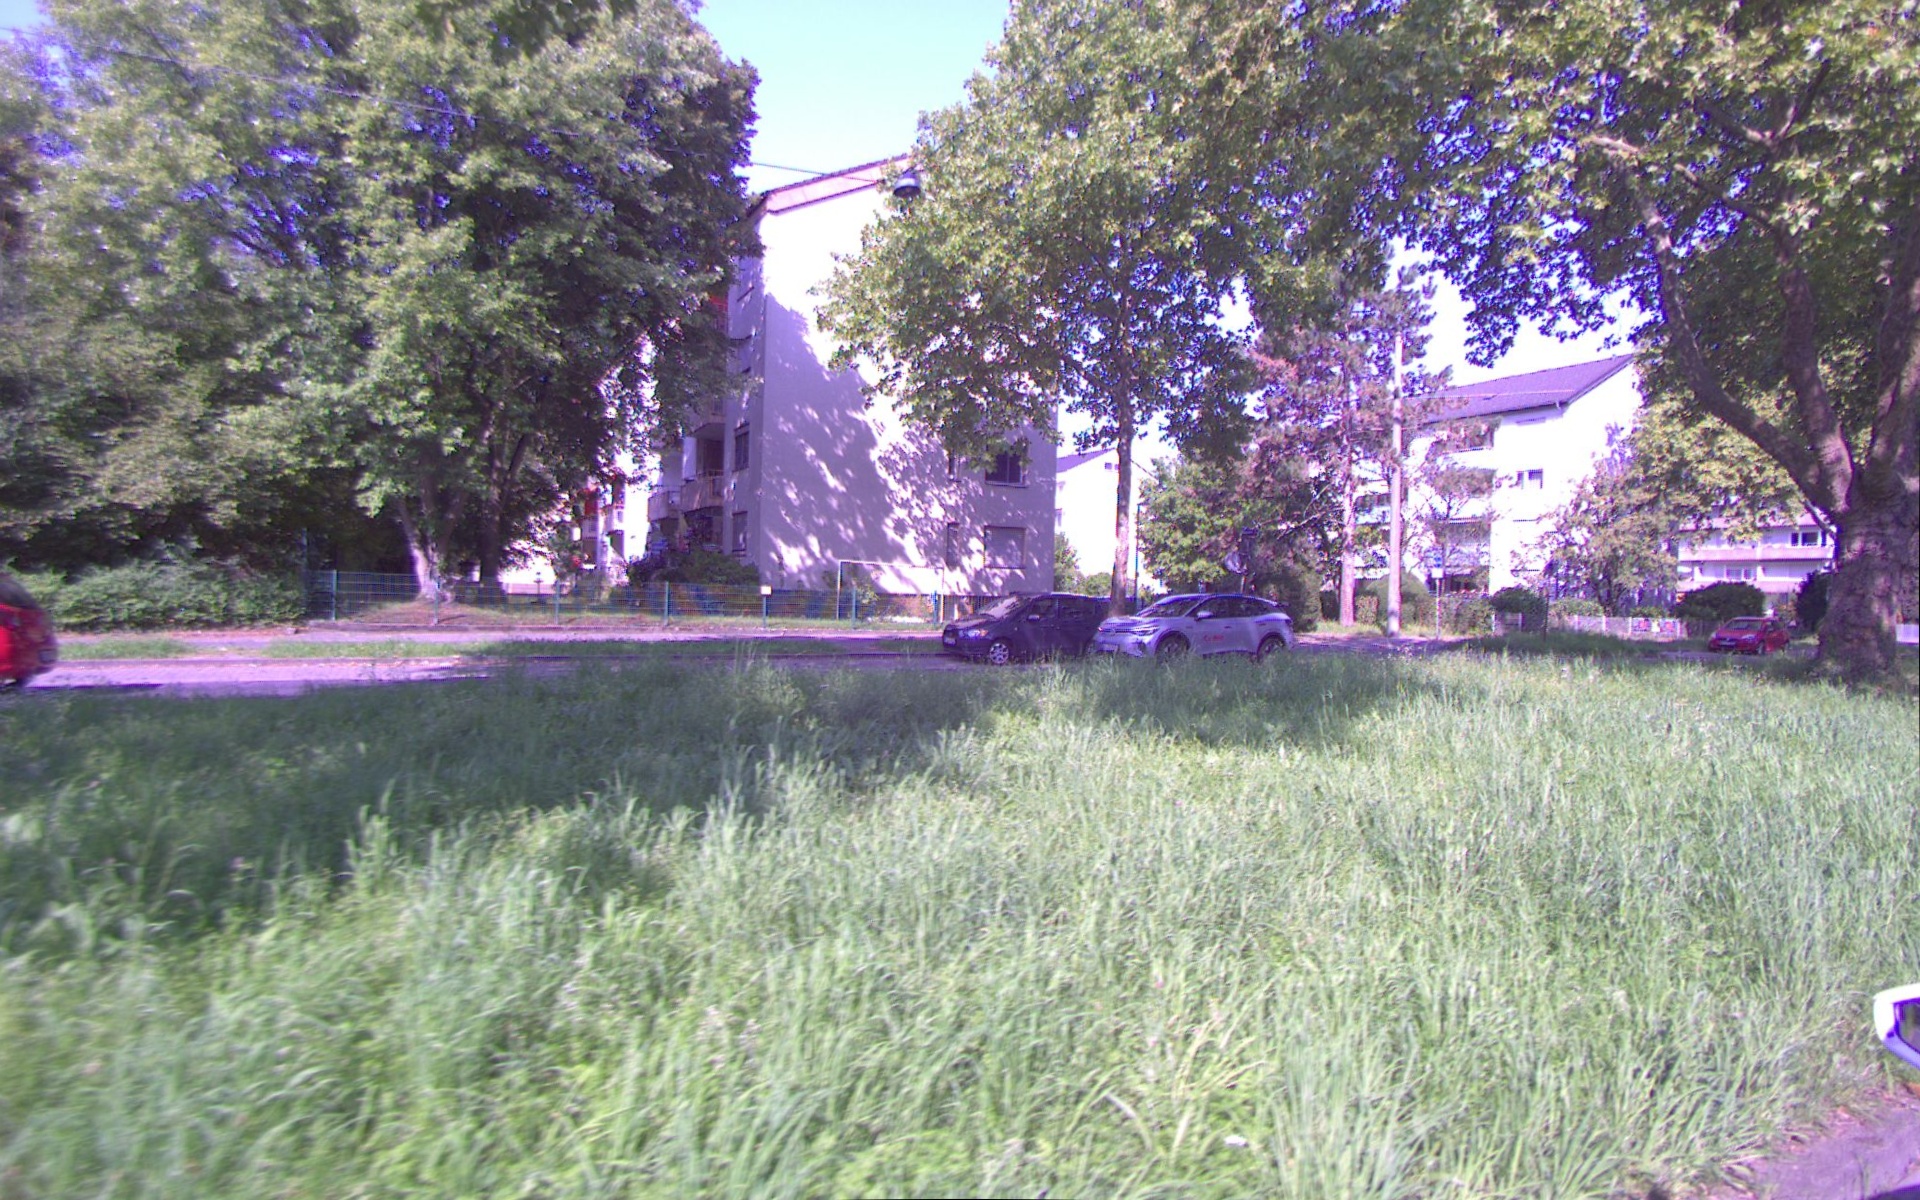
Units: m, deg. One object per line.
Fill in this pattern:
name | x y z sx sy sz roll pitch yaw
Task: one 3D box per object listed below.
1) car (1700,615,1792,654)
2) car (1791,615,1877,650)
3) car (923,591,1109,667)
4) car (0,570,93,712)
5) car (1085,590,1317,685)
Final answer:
car | 31.555 1.396 40.300 4.017 1.471 1.531 2 0 -30
car | 40.273 1.485 46.276 4.017 1.449 1.793 1 1 -30
car | 1.244 0.643 22.031 3.812 1.553 1.518 2 0 -25
car | -12.205 0.401 10.850 4.024 1.553 1.682 1 0 -32
car | 4.946 0.723 20.422 4.664 1.742 1.793 1 0 -30
